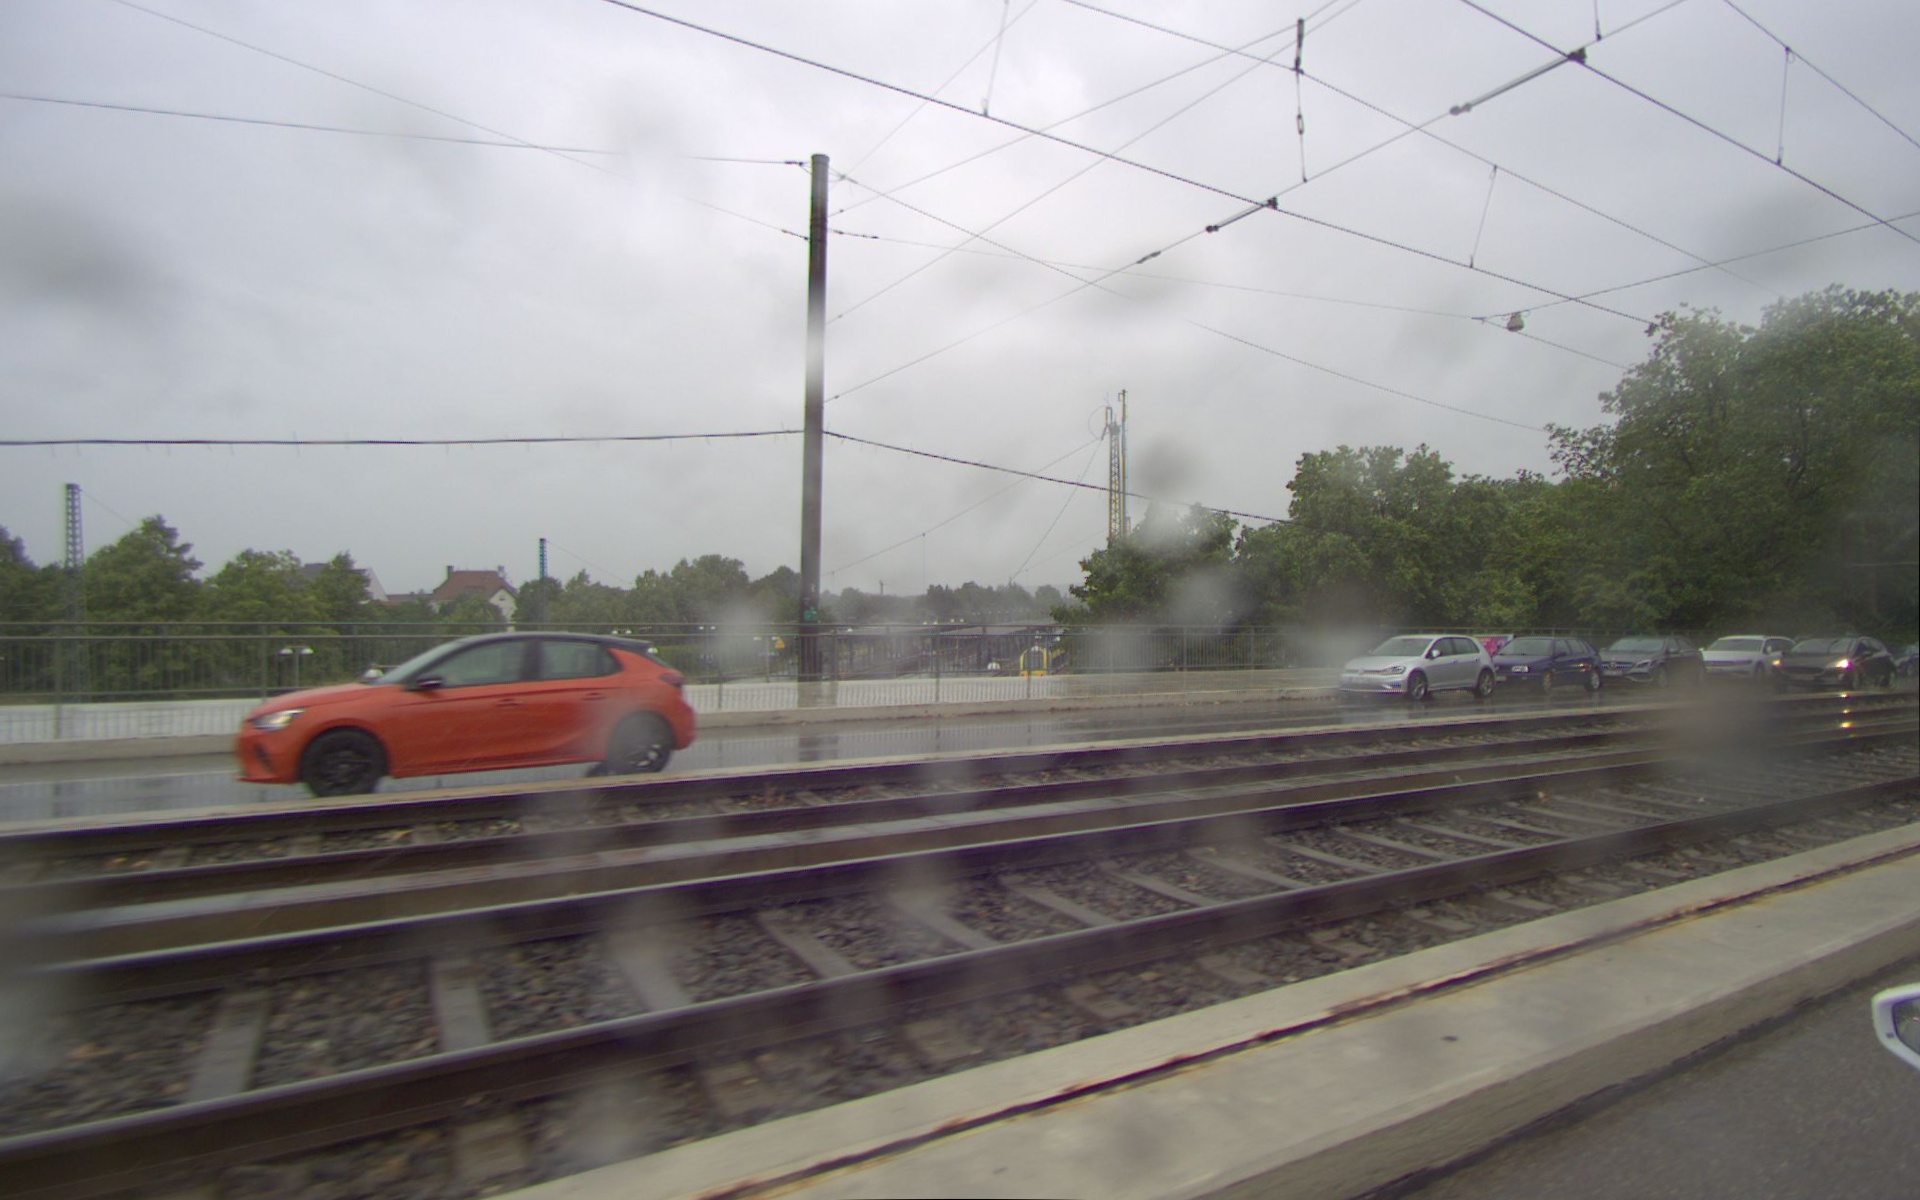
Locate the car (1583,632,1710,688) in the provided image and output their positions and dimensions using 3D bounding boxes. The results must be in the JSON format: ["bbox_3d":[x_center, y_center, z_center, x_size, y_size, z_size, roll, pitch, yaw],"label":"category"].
[{"bbox_3d":[19.426,1.652,28.381,4.364,1.419,1.496,0,-3,-35],"label":"car"}]

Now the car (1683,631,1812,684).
[{"bbox_3d":[24.673,1.779,31.423,4.838,1.418,1.499,0,-6,-32],"label":"car"}]

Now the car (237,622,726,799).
[{"bbox_3d":[-4.557,0.940,9.954,4.035,1.333,1.791,0,1,-30],"label":"car"}]

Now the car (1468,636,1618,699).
[{"bbox_3d":[14.961,1.673,25.698,4.234,1.419,1.498,0,-2,-32],"label":"car"}]

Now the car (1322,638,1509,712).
[{"bbox_3d":[10.555,1.677,23.206,4.270,1.475,1.854,0,-2,-32],"label":"car"}]

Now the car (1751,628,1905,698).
[{"bbox_3d":[22.943,1.608,26.526,4.213,1.387,1.807,-3,3,-30],"label":"car"}]

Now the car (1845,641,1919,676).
[{"bbox_3d":[34.930,2.175,37.689,3.669,1.188,1.499,0,-2,-31],"label":"car"}]

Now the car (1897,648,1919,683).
[{"bbox_3d":[39.772,2.605,40.713,4.046,1.309,1.499,0,-2,-30],"label":"car"}]
